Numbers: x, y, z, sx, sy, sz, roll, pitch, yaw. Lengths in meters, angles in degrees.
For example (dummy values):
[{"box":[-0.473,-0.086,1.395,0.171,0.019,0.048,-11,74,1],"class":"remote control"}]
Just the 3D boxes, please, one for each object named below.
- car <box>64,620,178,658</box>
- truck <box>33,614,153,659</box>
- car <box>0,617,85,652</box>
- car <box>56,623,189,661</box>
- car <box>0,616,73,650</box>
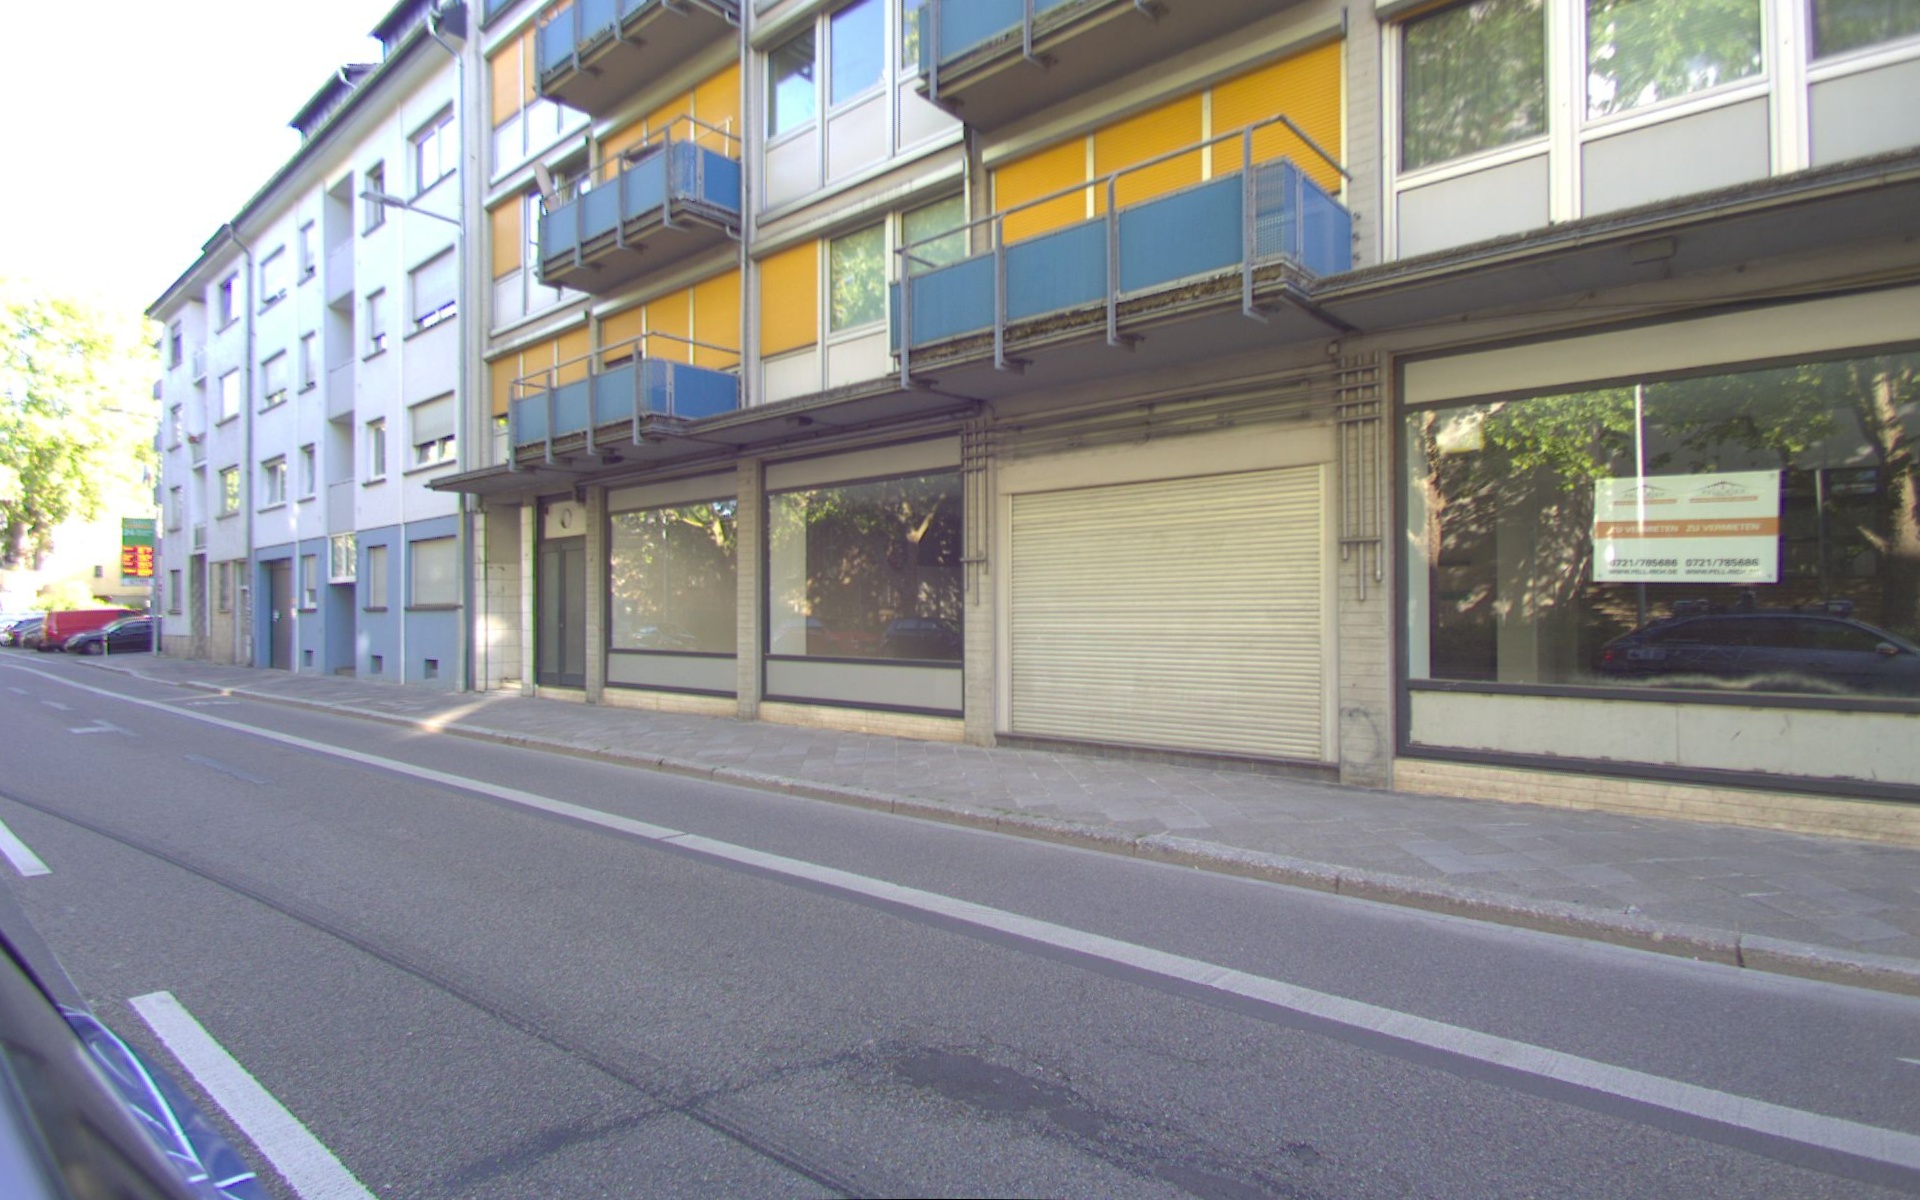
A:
[{"box":[-38.031,1.728,45.941,1.657,1.583,3.762,-1,0,41],"class":"car"},{"box":[-40.710,1.646,47.574,1.999,1.939,4.040,-1,0,40],"class":"truck"},{"box":[-56.045,2.064,61.471,2.000,1.971,4.180,-1,0,43],"class":"car"},{"box":[-36.481,1.791,44.158,1.657,1.417,4.269,-1,0,40],"class":"car"},{"box":[-59.329,2.092,64.401,2.000,2.052,4.180,-1,0,43],"class":"car"}]
